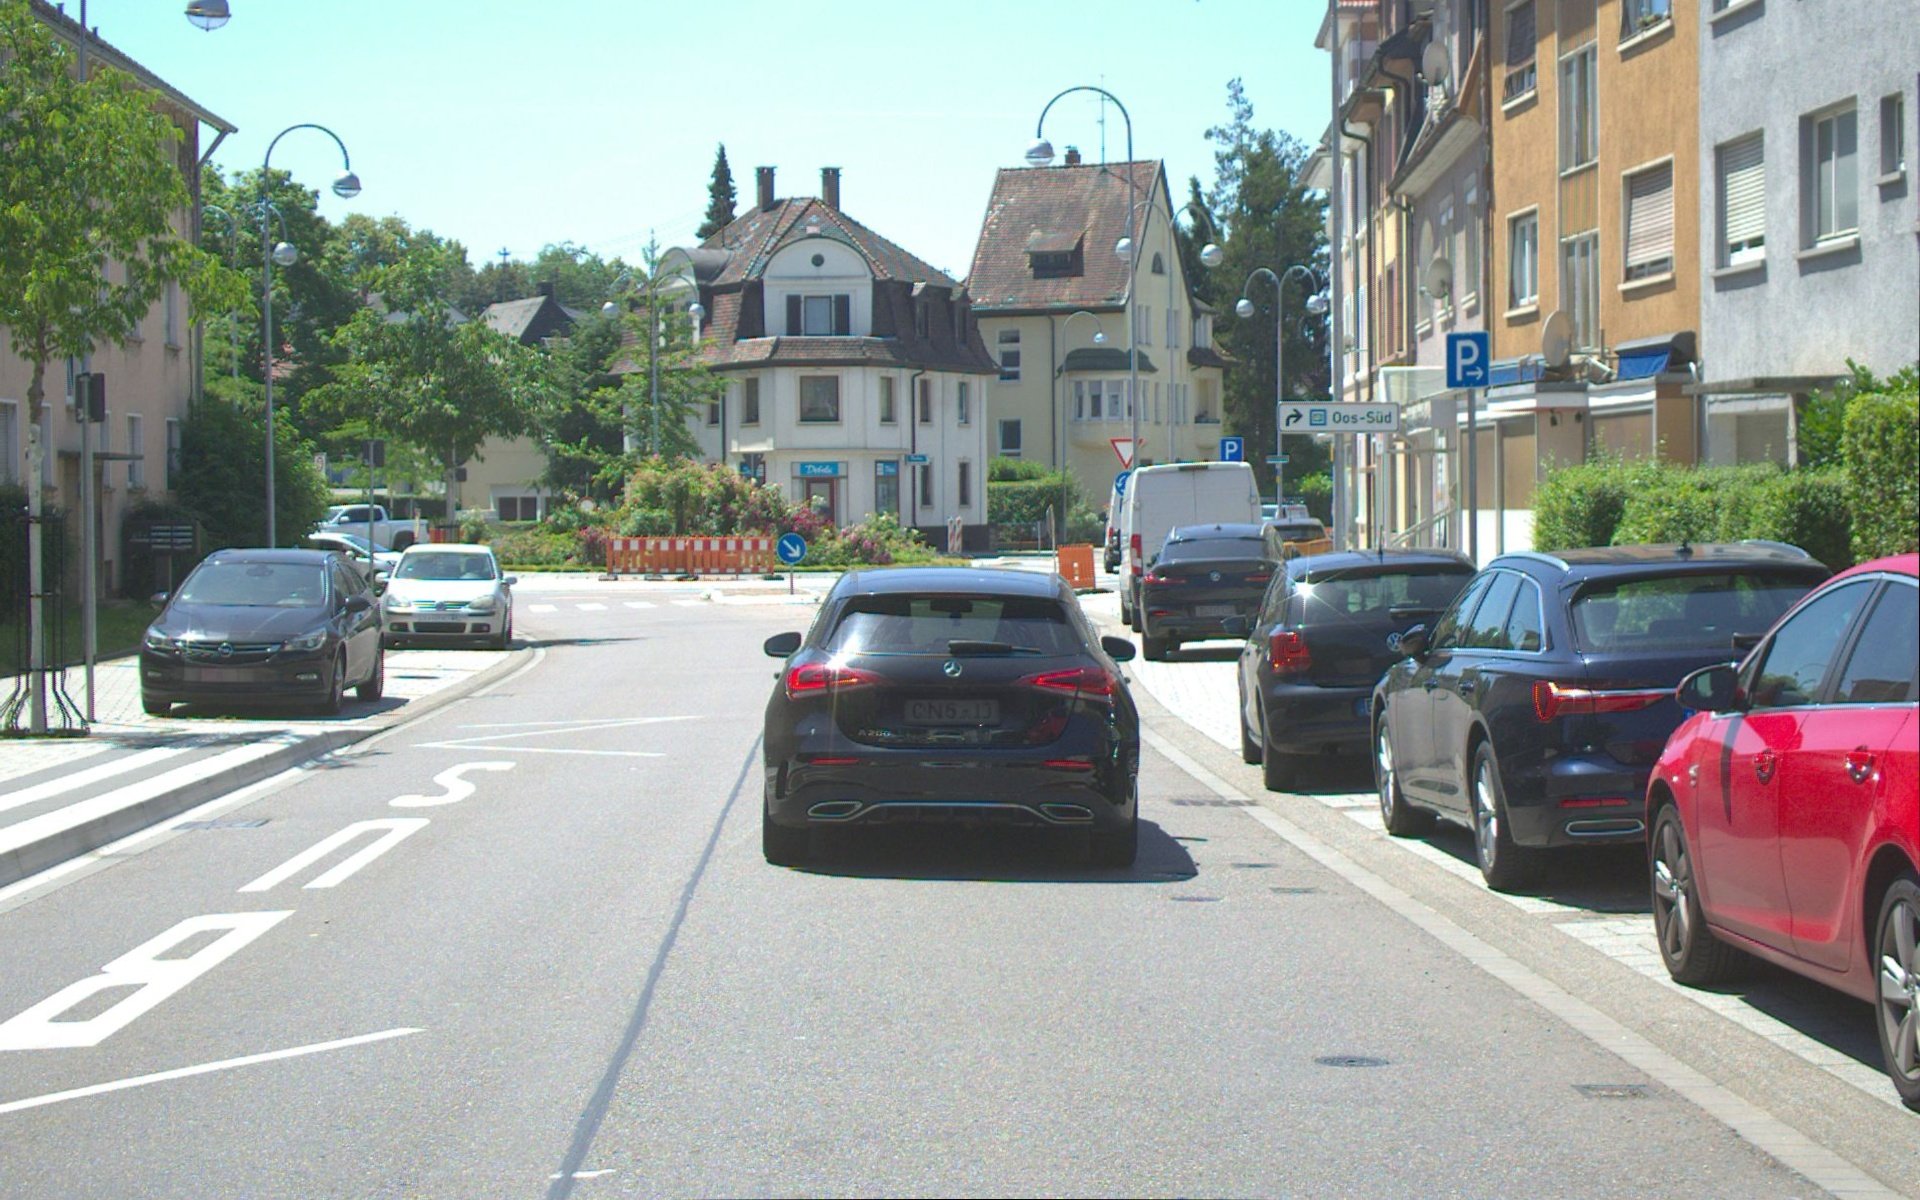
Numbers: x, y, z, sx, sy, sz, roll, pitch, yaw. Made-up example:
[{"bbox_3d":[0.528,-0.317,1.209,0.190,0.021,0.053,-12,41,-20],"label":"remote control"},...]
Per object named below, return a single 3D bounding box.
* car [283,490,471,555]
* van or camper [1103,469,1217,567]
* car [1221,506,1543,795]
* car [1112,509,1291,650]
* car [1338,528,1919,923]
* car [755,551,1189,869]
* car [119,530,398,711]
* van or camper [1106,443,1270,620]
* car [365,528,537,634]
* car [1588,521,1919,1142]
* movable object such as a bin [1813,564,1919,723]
[{"bbox_3d":[-17.164,-2.260,101.416,1.998,1.809,5.407,3,2,40],"label":"car"},{"bbox_3d":[5.469,-2.251,93.600,2.207,2.601,3.997,1,2,17],"label":"van or camper"},{"bbox_3d":[2.677,0.251,22.577,1.728,1.627,4.000,-3,2,3],"label":"car"},{"bbox_3d":[3.057,-0.293,42.725,1.896,1.602,4.363,-2,1,8],"label":"car"},{"bbox_3d":[3.067,0.459,16.330,1.803,1.470,4.721,-4,2,-2],"label":"car"},{"bbox_3d":[0.031,0.485,17.628,1.953,1.422,4.000,1,0,-1],"label":"car"},{"bbox_3d":[-6.479,0.136,32.238,1.857,1.501,4.563,0,2,-3],"label":"car"},{"bbox_3d":[3.527,-1.099,54.161,2.165,2.580,5.766,-1,2,0],"label":"van or camper"},{"bbox_3d":[-7.178,-0.300,48.859,1.993,1.415,4.089,0,1,-3],"label":"car"},{"bbox_3d":[3.271,0.541,10.432,1.803,1.524,4.151,-2,2,-2],"label":"car"},{"bbox_3d":[6.332,0.295,24.003,0.554,1.081,0.776,-1,1,0],"label":"movable object such as a bin"}]
